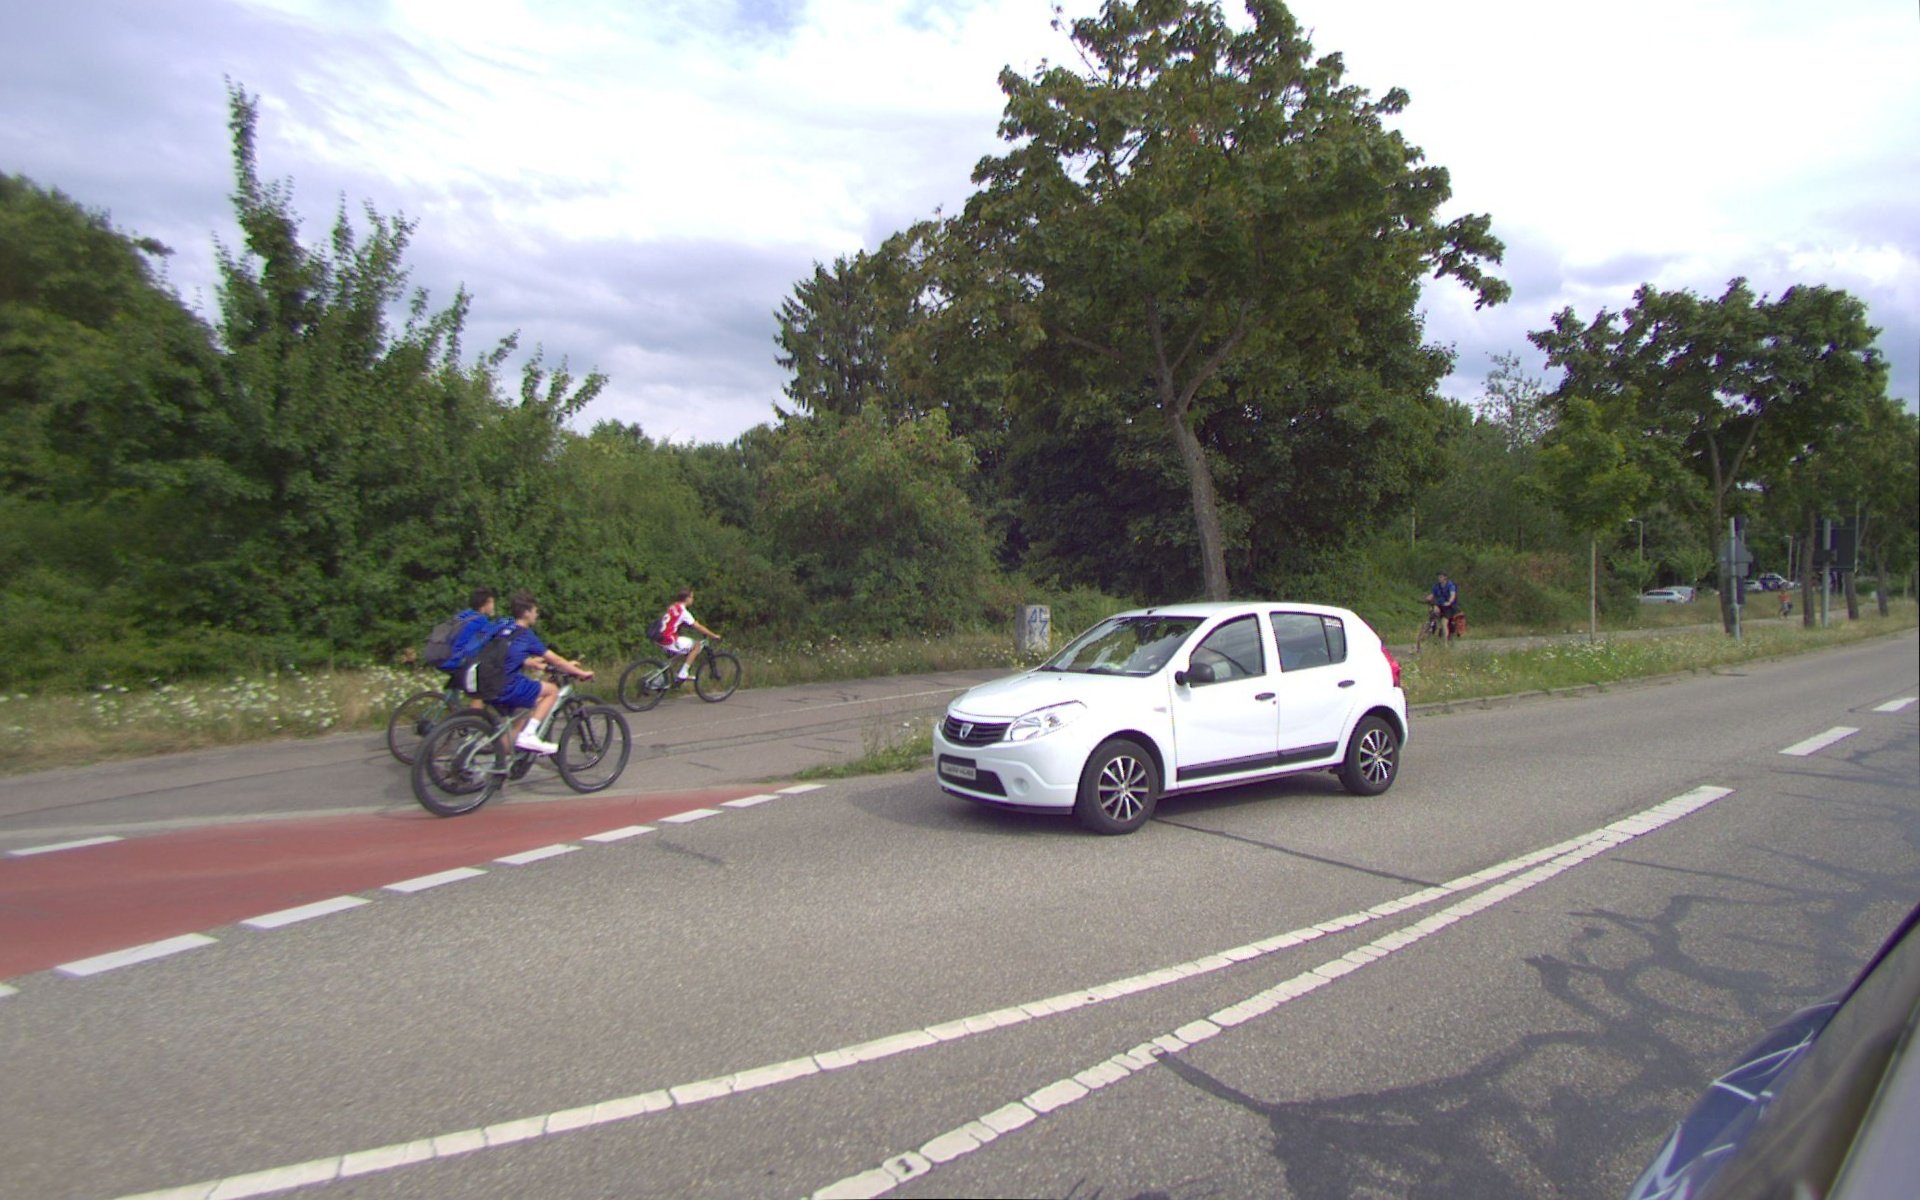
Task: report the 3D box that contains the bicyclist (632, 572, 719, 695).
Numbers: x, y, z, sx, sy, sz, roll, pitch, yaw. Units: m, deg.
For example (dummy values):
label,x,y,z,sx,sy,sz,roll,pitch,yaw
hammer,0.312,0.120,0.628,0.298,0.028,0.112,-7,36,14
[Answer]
label,x,y,z,sx,sy,sz,roll,pitch,yaw
bicyclist,-3.583,0.395,12.739,0.740,1.492,0.793,0,0,44

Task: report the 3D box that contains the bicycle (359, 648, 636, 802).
label,x,y,z,sx,sy,sz,roll,pitch,yaw
bicycle,-3.910,1.002,8.757,0.593,1.049,2.166,2,1,36

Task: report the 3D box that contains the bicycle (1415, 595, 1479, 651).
label,x,y,z,sx,sy,sz,roll,pitch,yaw
bicycle,10.695,0.485,22.192,1.948,1.162,0.574,0,2,-43

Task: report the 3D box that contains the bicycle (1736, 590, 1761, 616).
label,x,y,z,sx,sy,sz,roll,pitch,yaw
bicycle,35.788,0.124,45.939,2.194,1.162,0.514,-1,3,-43

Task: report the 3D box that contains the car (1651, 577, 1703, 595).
label,x,y,z,sx,sy,sz,roll,pitch,yaw
car,70.720,-1.393,99.848,3.986,1.574,1.626,3,3,43

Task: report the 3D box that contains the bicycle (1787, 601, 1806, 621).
label,x,y,z,sx,sy,sz,roll,pitch,yaw
bicycle,44.188,0.571,53.477,1.752,0.976,0.514,-1,3,-43

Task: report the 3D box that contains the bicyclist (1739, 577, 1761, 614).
label,x,y,z,sx,sy,sz,roll,pitch,yaw
bicyclist,35.894,-0.225,45.993,0.768,1.678,0.652,-1,0,-42

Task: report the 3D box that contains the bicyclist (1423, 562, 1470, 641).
label,x,y,z,sx,sy,sz,roll,pitch,yaw
bicyclist,10.632,0.018,22.133,0.861,1.678,0.652,-1,0,-43

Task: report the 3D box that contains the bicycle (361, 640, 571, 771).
label,x,y,z,sx,sy,sz,roll,pitch,yaw
bicycle,-4.772,0.976,9.885,0.618,1.018,1.764,4,3,36

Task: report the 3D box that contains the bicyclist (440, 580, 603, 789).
label,x,y,z,sx,sy,sz,roll,pitch,yaw
bicyclist,-3.477,0.612,8.054,0.739,1.537,0.946,0,0,36

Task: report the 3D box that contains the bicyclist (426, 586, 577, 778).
label,x,y,z,sx,sy,sz,roll,pitch,yaw
bicyclist,-3.950,0.656,8.755,0.738,1.537,0.946,0,0,35

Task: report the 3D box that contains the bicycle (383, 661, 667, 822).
label,x,y,z,sx,sy,sz,roll,pitch,yaw
bicycle,-3.402,1.054,8.120,0.618,1.019,2.075,-2,-2,36

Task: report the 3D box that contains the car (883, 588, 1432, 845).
label,x,y,z,sx,sy,sz,roll,pitch,yaw
car,1.581,0.706,7.878,3.920,1.521,1.855,-1,-1,-30

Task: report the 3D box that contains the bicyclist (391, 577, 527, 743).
label,x,y,z,sx,sy,sz,roll,pitch,yaw
bicyclist,-4.833,0.533,9.782,0.739,1.505,0.946,0,0,37

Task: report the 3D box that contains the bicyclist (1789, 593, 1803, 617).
label,x,y,z,sx,sy,sz,roll,pitch,yaw
bicyclist,44.144,0.259,53.441,0.442,1.298,0.539,-1,0,-42

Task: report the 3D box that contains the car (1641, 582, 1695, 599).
label,x,y,z,sx,sy,sz,roll,pitch,yaw
car,66.043,-0.901,94.428,3.986,1.461,1.626,3,3,43

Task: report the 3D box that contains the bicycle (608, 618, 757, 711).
label,x,y,z,sx,sy,sz,roll,pitch,yaw
bicycle,-3.507,0.784,12.908,0.620,1.018,1.759,4,4,43
